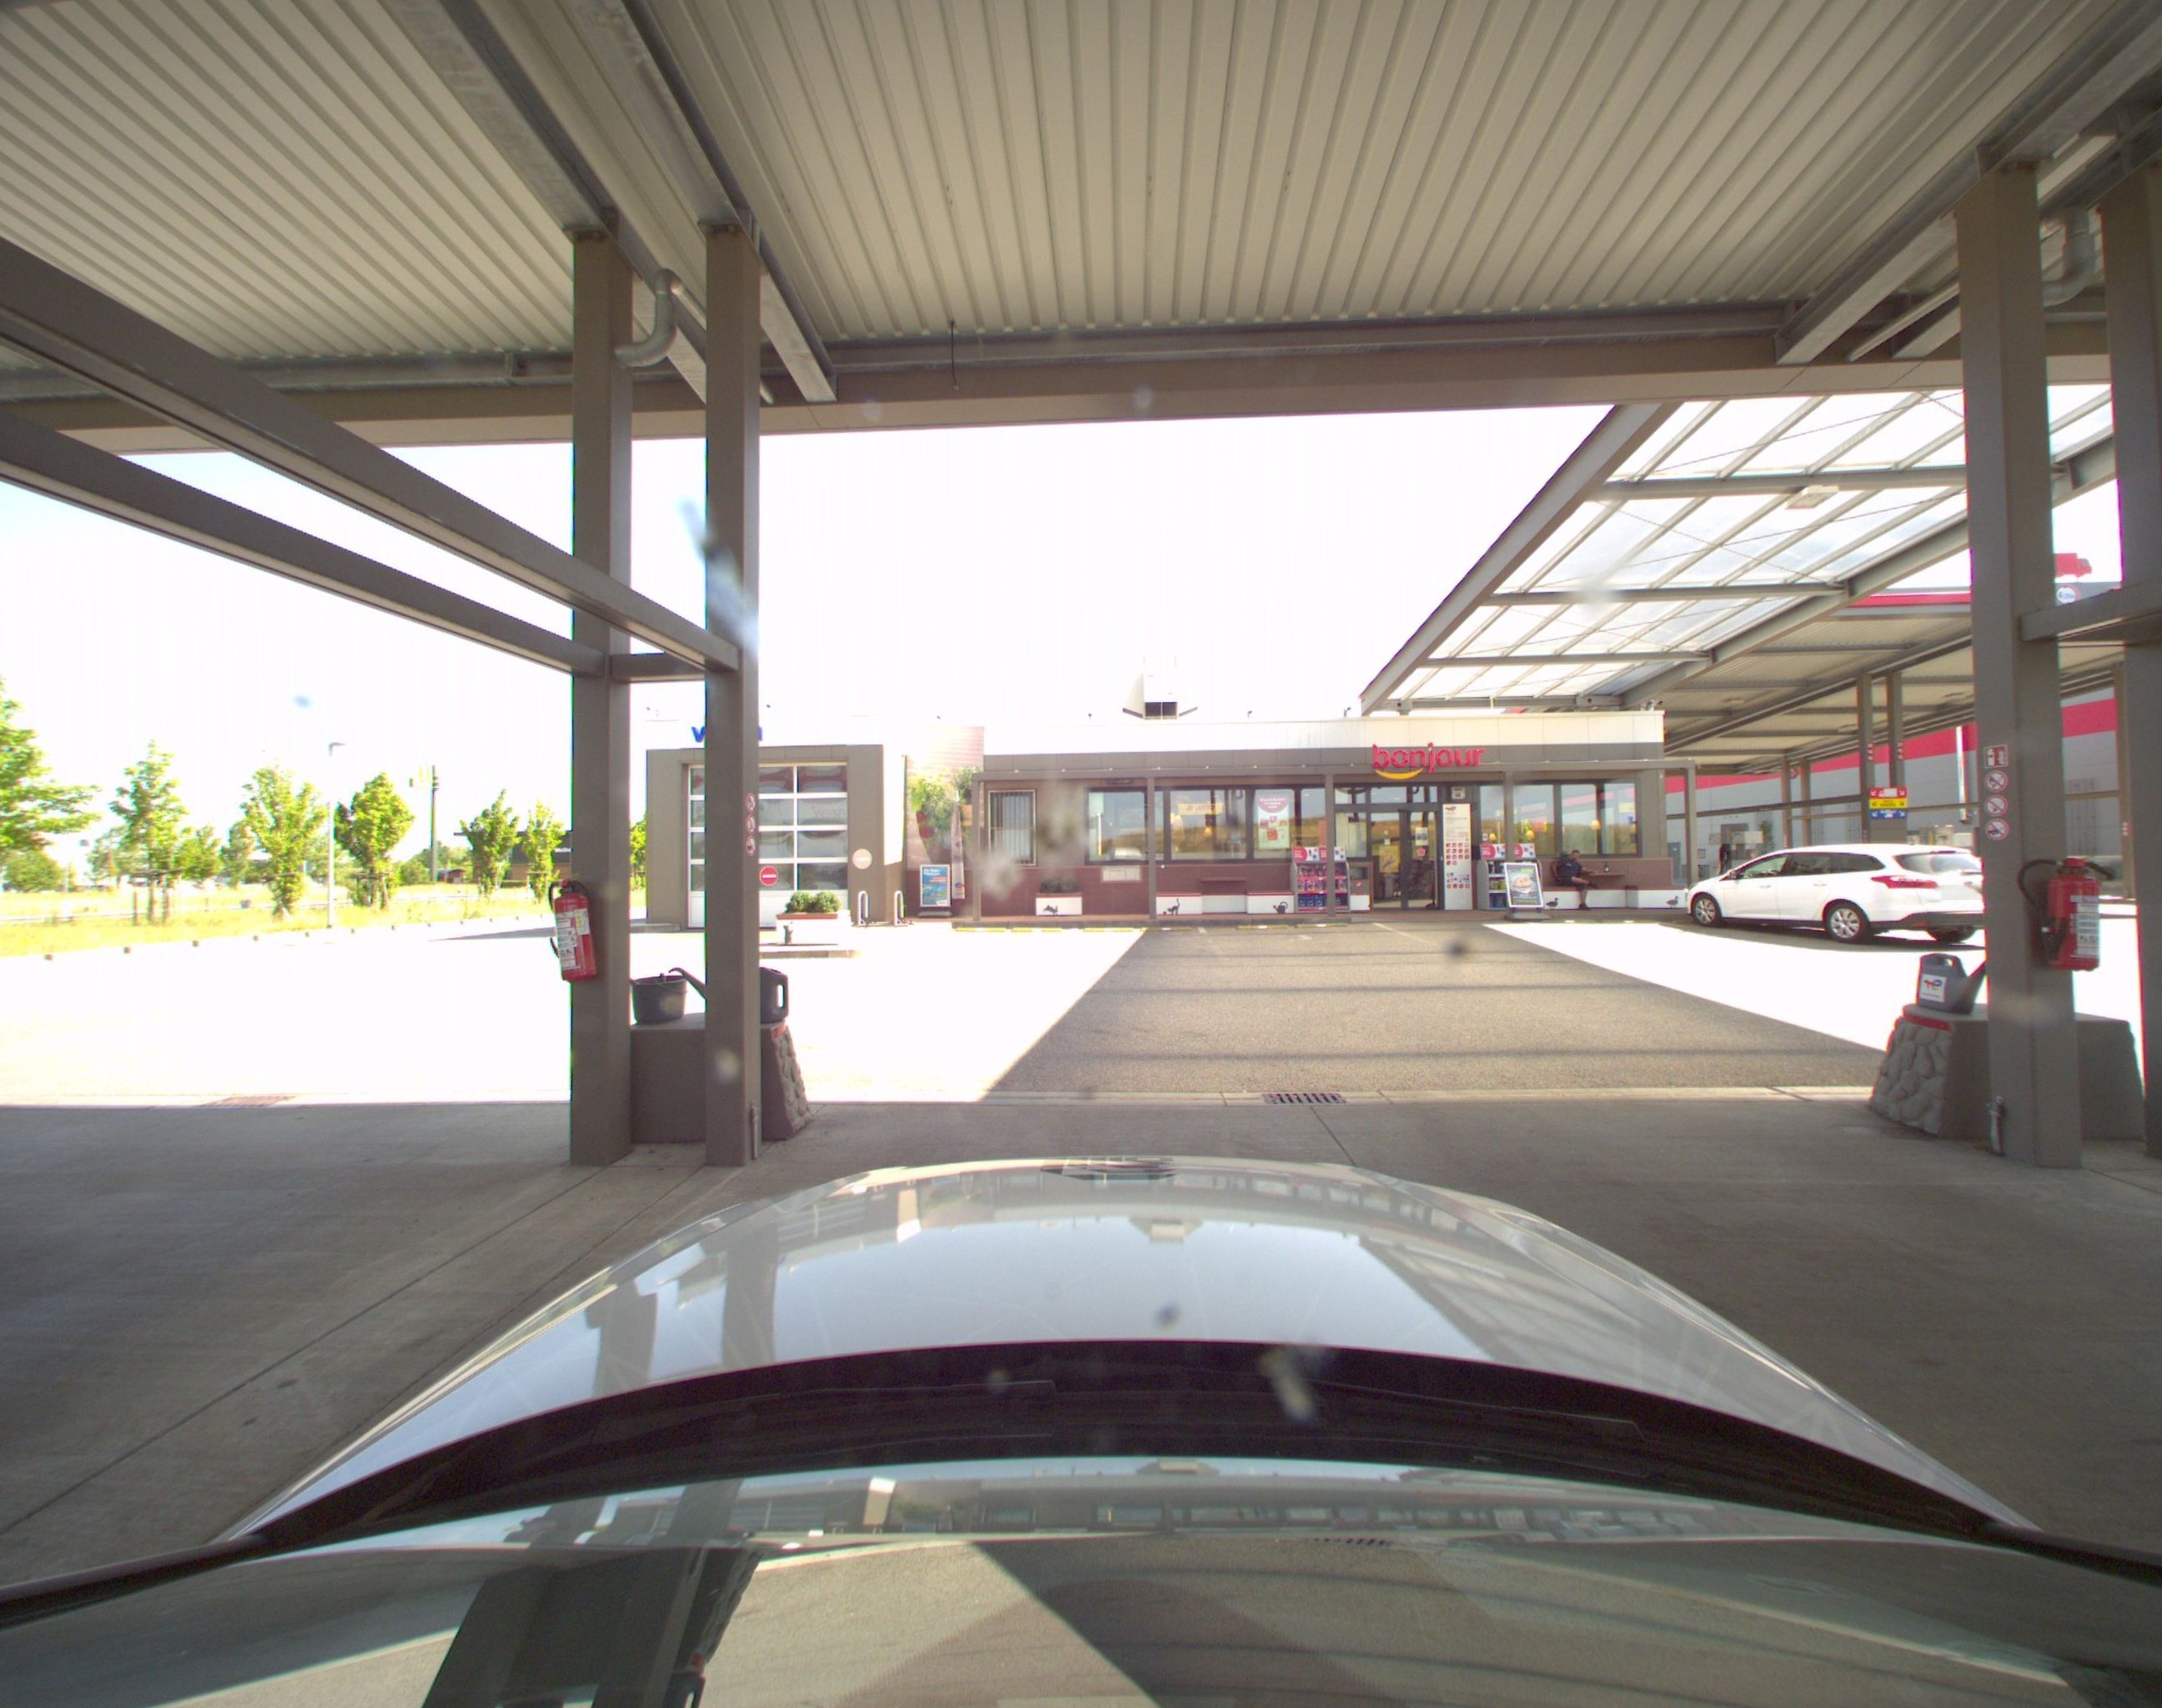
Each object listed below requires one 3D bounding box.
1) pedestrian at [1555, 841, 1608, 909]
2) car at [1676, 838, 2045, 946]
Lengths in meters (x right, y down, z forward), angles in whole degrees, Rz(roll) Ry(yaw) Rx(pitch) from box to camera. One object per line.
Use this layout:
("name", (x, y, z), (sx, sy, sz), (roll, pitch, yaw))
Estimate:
("pedestrian", (10.804, 0.439, 17.596), (0.698, 1.432, 0.673), (-1, -1, 2))
("car", (12.332, 0.532, 13.383), (1.826, 1.457, 4.316), (-1, 0, -3))
